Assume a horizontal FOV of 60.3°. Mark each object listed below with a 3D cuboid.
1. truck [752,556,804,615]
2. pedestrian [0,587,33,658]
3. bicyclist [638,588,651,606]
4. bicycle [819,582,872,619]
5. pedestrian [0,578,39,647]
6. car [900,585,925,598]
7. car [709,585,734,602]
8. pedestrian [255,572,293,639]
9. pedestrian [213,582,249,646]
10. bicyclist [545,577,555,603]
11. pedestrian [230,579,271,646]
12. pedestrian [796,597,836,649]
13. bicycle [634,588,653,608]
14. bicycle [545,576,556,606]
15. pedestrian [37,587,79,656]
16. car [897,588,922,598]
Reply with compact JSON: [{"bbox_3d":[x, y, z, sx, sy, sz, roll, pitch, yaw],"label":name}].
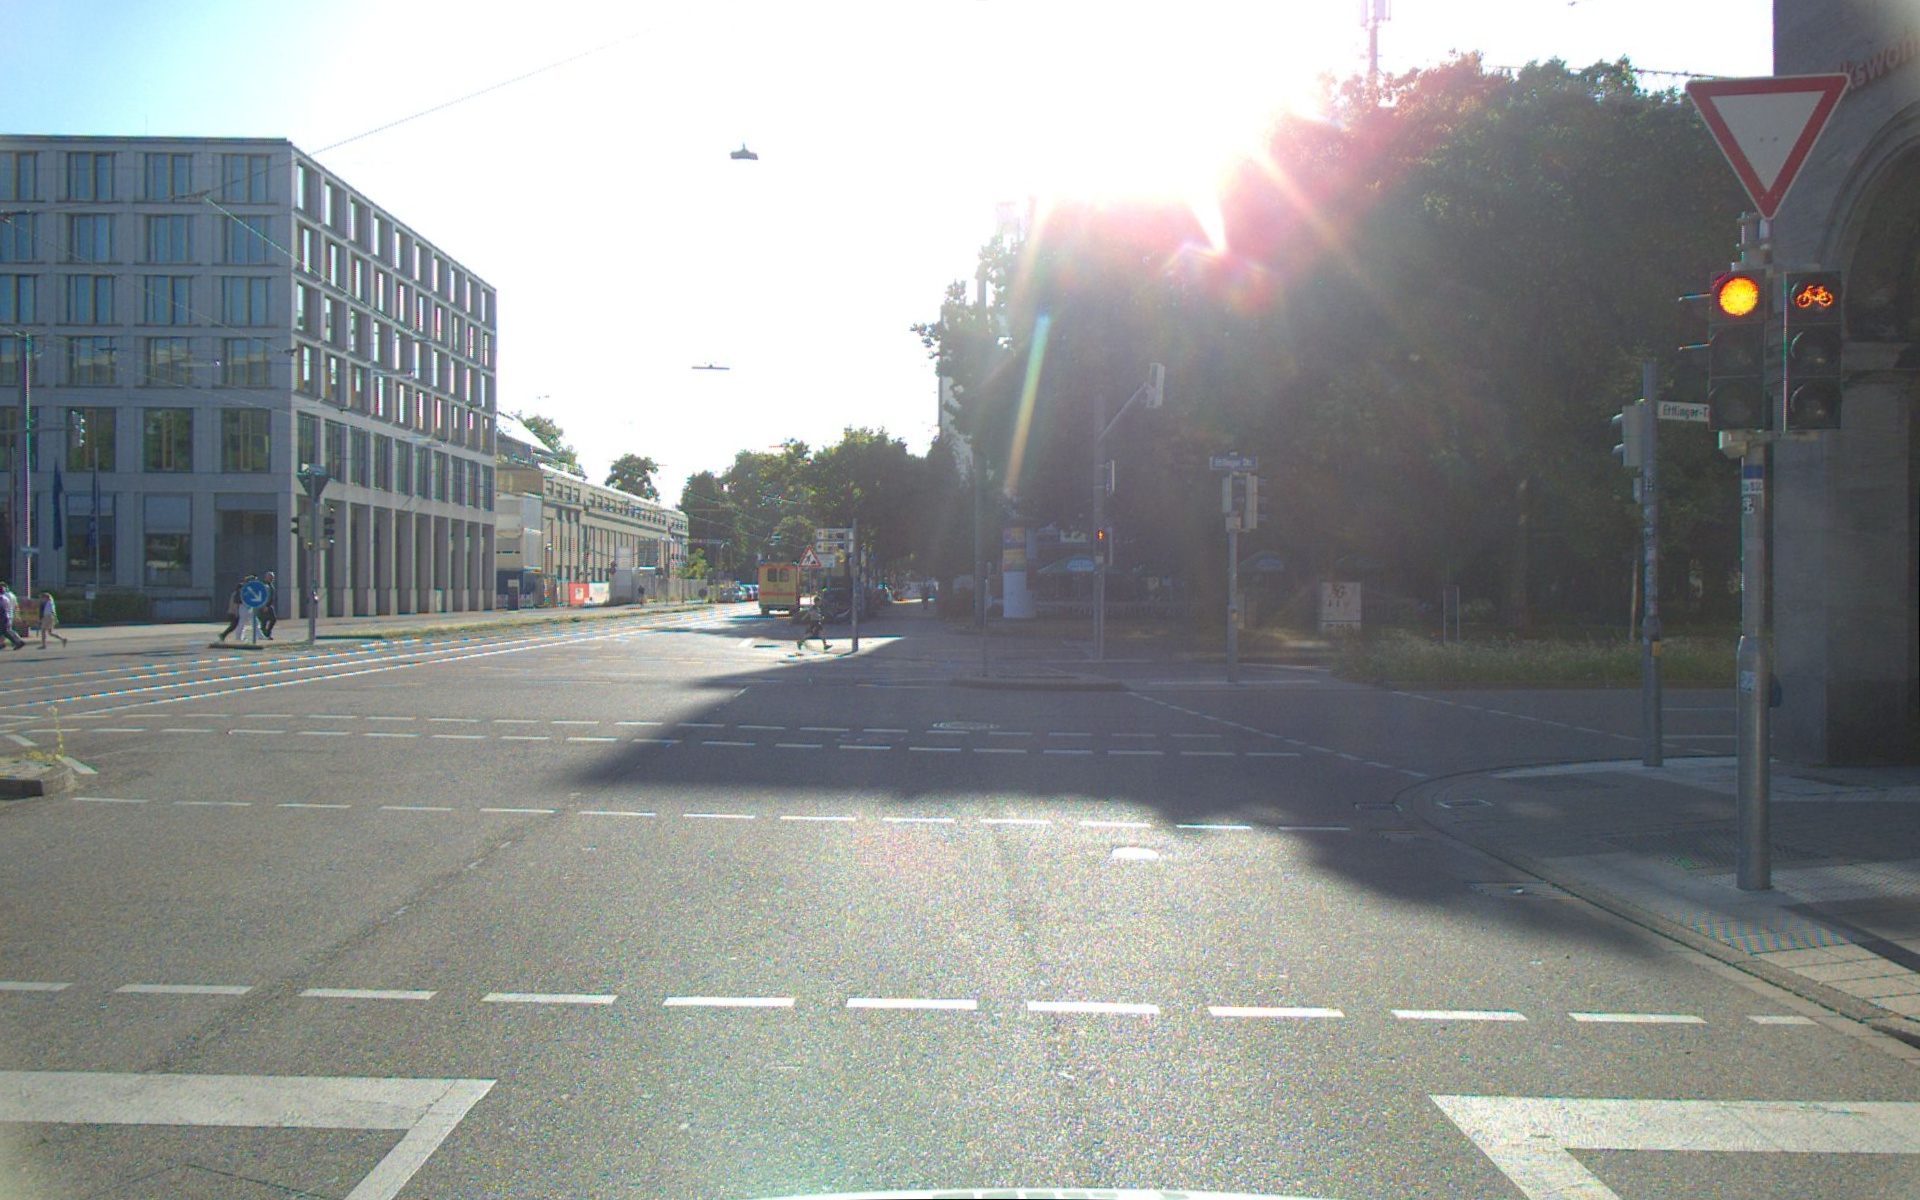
[{"bbox_3d":[-9.917,-0.776,90.440,2.663,3.068,6.482,0,0,-5],"label":"truck"},{"bbox_3d":[-24.867,0.594,43.237,0.852,1.835,0.664,0,0,4],"label":"pedestrian"},{"bbox_3d":[-24.207,-0.247,126.927,0.675,1.351,1.000,1,0,4],"label":"bicyclist"},{"bbox_3d":[-5.615,0.015,81.295,2.495,1.774,1.037,1,0,-1],"label":"bicycle"},{"bbox_3d":[-25.364,0.337,44.532,0.723,1.835,0.716,0,0,4],"label":"pedestrian"},{"bbox_3d":[-6.108,-1.095,213.399,3.152,1.616,1.445,1,0,-5],"label":"car"},{"bbox_3d":[-22.514,-0.617,156.202,1.856,1.635,4.498,0,0,-3],"label":"car"},{"bbox_3d":[-18.601,0.158,44.854,0.732,1.792,0.678,-1,-1,4],"label":"pedestrian"},{"bbox_3d":[-19.338,0.368,43.875,0.680,1.673,0.621,0,0,0],"label":"pedestrian"},{"bbox_3d":[-32.145,-0.807,129.725,0.559,2.059,0.761,0,0,-2],"label":"bicyclist"},{"bbox_3d":[-17.960,0.319,41.879,0.777,1.673,0.620,0,0,-5],"label":"pedestrian"},{"bbox_3d":[-3.794,0.608,43.628,0.973,1.340,0.767,0,0,-1],"label":"pedestrian"},{"bbox_3d":[-24.254,-0.151,126.855,0.675,1.538,2.946,1,0,4],"label":"bicycle"},{"bbox_3d":[-32.147,-0.679,129.771,0.559,2.336,1.422,0,0,-2],"label":"bicycle"},{"bbox_3d":[-24.178,0.561,44.338,0.851,1.835,0.532,0,0,4],"label":"pedestrian"},{"bbox_3d":[-6.485,-0.888,211.075,3.153,1.285,1.372,1,0,-2],"label":"car"}]
